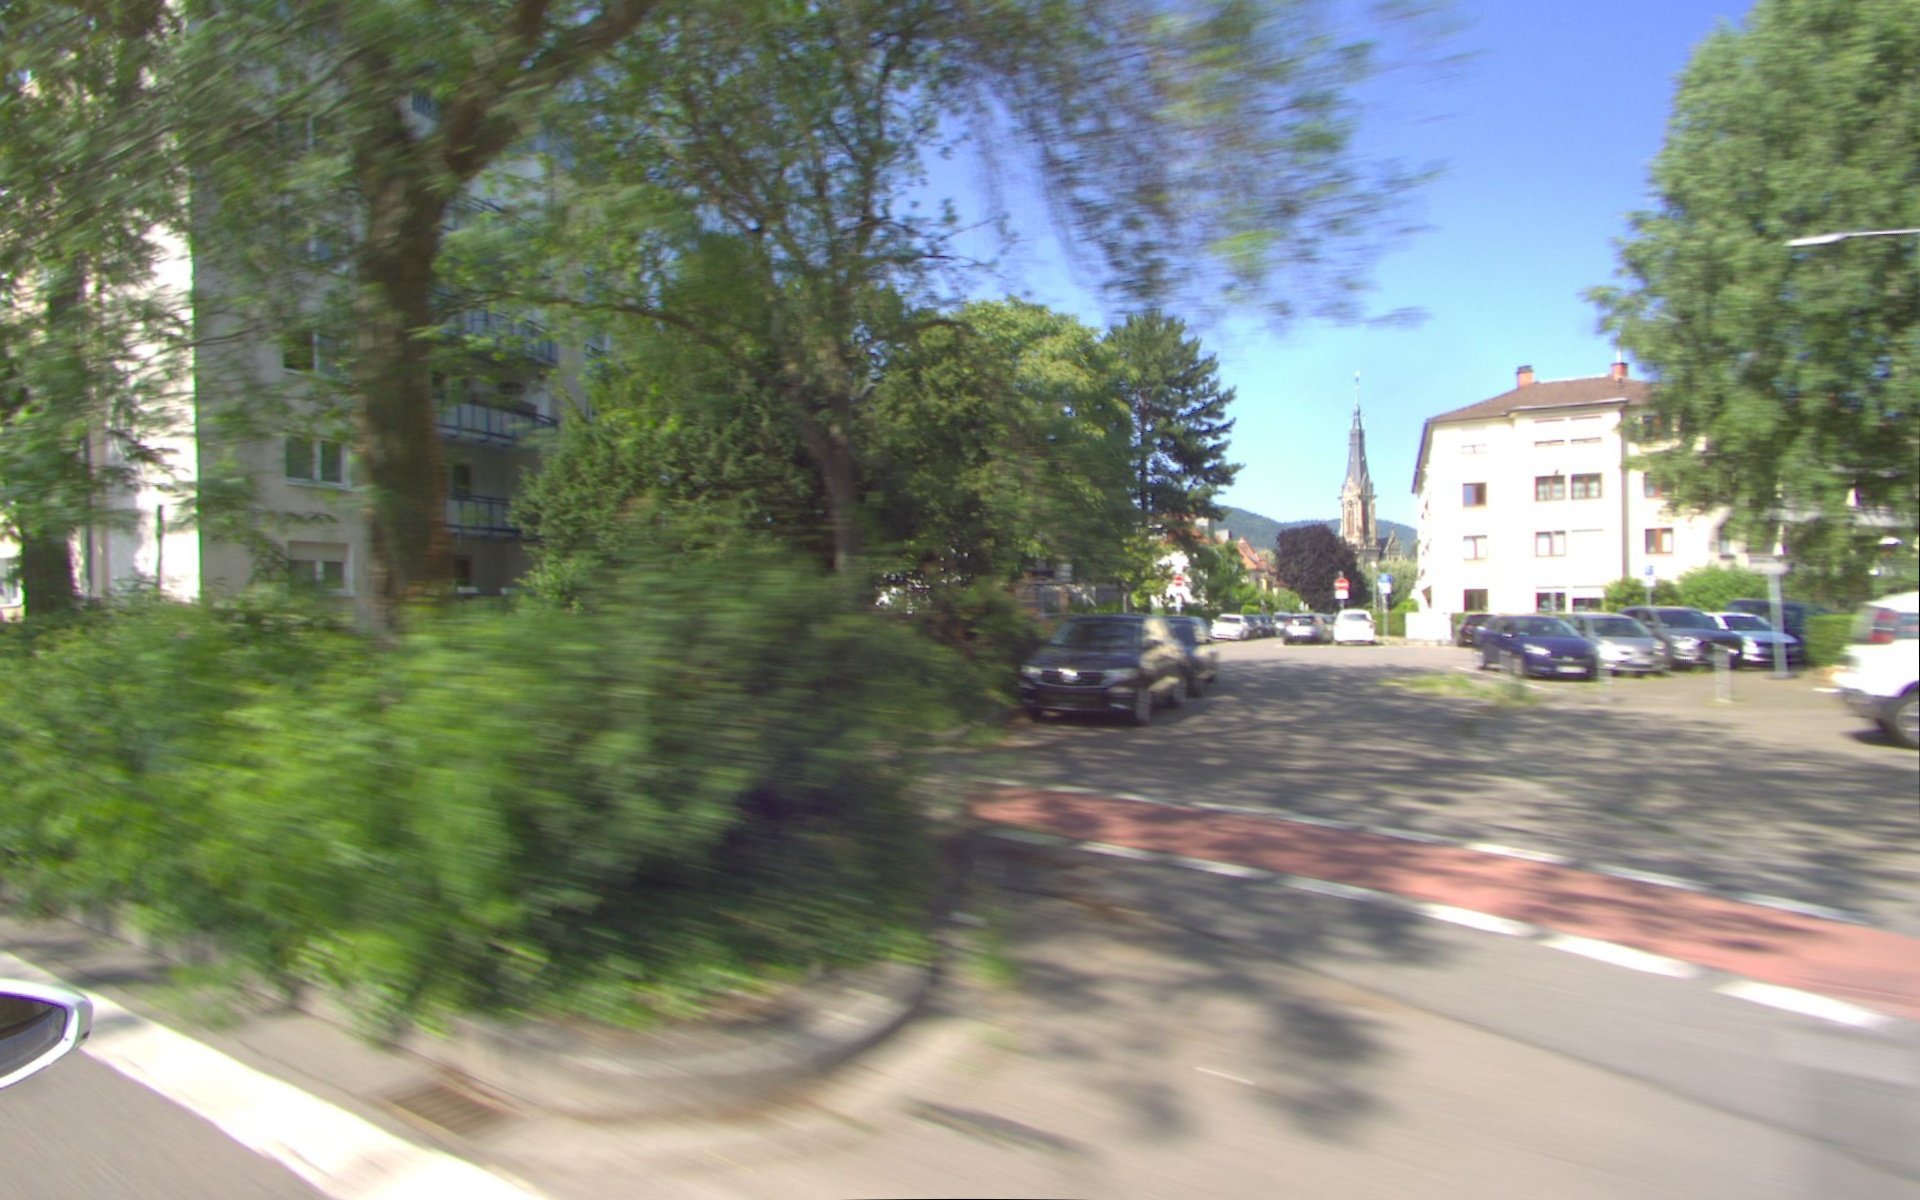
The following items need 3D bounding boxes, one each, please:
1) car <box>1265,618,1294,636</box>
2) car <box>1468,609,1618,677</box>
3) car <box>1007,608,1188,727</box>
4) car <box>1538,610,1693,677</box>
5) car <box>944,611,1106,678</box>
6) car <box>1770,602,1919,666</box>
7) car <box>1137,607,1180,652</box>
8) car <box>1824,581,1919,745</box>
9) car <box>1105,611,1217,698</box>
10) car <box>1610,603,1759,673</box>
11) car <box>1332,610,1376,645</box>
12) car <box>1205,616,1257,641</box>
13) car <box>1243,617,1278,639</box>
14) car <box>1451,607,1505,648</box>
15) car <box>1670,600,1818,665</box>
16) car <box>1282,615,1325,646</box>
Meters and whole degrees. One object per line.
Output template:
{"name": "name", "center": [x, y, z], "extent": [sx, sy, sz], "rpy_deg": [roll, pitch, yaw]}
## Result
{"name": "car", "center": [25.981, 2.207, 81.336], "extent": [1.714, 1.416, 4.237], "rpy_deg": [-1, -1, 25]}
{"name": "car", "center": [14.083, 1.009, 24.454], "extent": [1.898, 1.532, 3.999], "rpy_deg": [-1, -1, 10]}
{"name": "car", "center": [2.237, 0.934, 15.326], "extent": [1.810, 1.568, 3.962], "rpy_deg": [-1, -1, 22]}
{"name": "car", "center": [16.622, 1.071, 25.652], "extent": [1.898, 1.553, 3.999], "rpy_deg": [-1, -1, 10]}
{"name": "car", "center": [1.813, 1.203, 27.713], "extent": [4.145, 1.695, 1.781], "rpy_deg": [0, -1, -28]}
{"name": "car", "center": [24.875, 0.916, 27.864], "extent": [1.873, 1.661, 3.999], "rpy_deg": [-1, -1, 9]}
{"name": "car", "center": [9.528, 1.405, 48.248], "extent": [1.896, 2.040, 3.999], "rpy_deg": [-1, -1, 10]}
{"name": "car", "center": [11.274, 0.583, 10.042], "extent": [3.736, 1.661, 1.651], "rpy_deg": [-3, -2, 35]}
{"name": "car", "center": [4.075, 1.002, 19.870], "extent": [1.749, 1.461, 3.764], "rpy_deg": [-1, 1, 18]}
{"name": "car", "center": [19.571, 0.997, 27.268], "extent": [1.834, 1.750, 3.998], "rpy_deg": [-1, -1, 13]}
{"name": "car", "center": [17.539, 1.212, 44.640], "extent": [1.733, 1.492, 3.793], "rpy_deg": [-1, -1, 21]}
{"name": "car", "center": [15.747, 1.641, 58.074], "extent": [1.718, 1.416, 4.228], "rpy_deg": [-1, -1, 32]}
{"name": "car", "center": [20.365, 1.880, 67.777], "extent": [1.714, 1.416, 4.237], "rpy_deg": [-1, -1, 25]}
{"name": "car", "center": [21.465, 1.131, 41.613], "extent": [1.687, 1.616, 3.831], "rpy_deg": [-1, -1, 23]}
{"name": "car", "center": [22.676, 0.922, 29.166], "extent": [1.834, 1.750, 3.998], "rpy_deg": [-1, -1, 13]}
{"name": "car", "center": [15.749, 1.392, 45.800], "extent": [1.733, 1.342, 3.410], "rpy_deg": [-1, -1, 21]}
